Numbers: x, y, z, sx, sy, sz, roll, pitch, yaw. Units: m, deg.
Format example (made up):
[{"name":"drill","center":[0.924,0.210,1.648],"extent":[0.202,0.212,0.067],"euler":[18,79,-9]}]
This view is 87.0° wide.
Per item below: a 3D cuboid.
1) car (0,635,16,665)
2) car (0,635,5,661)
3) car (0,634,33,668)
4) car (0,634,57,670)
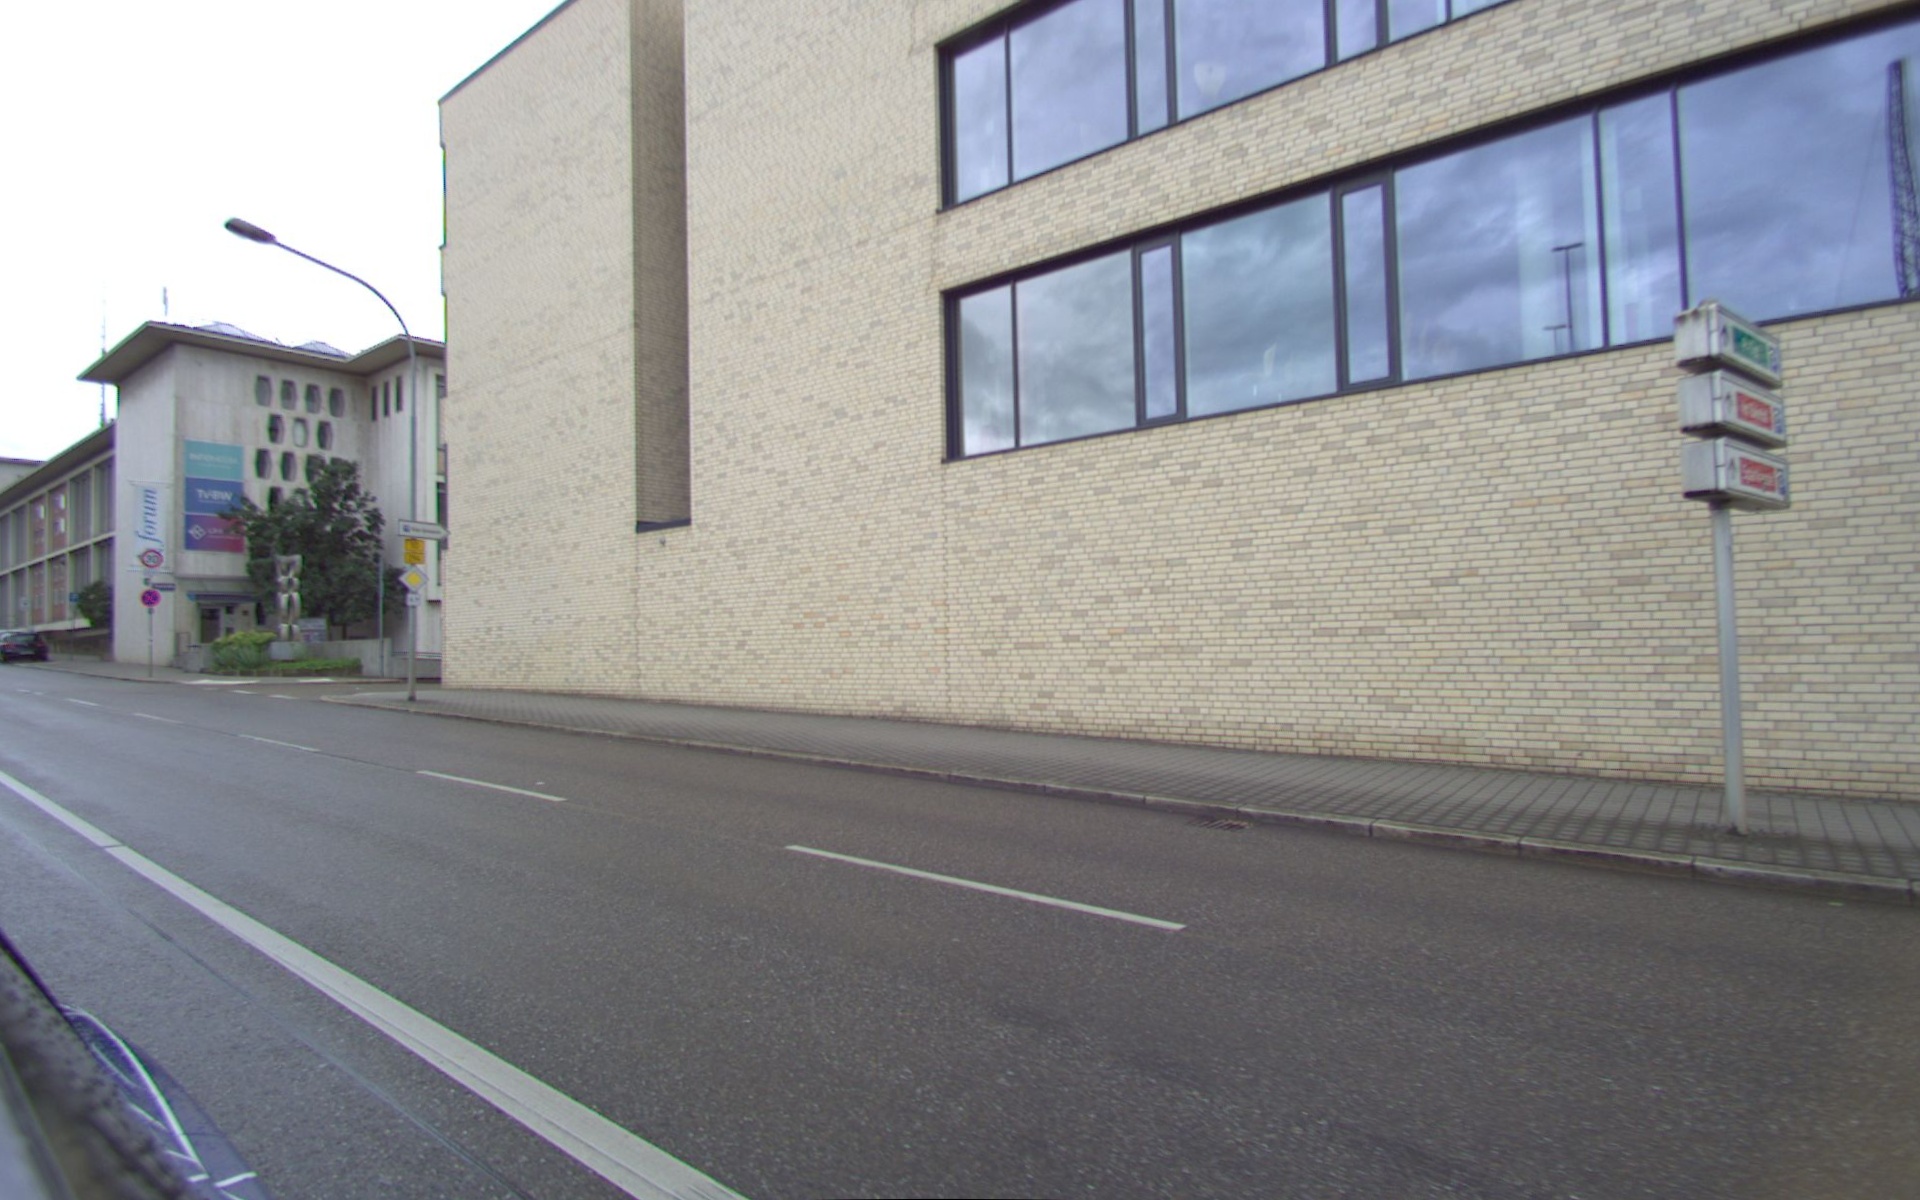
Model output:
[{"name":"car","center":[-54.386,2.806,56.506],"extent":[3.997,1.523,1.973],"euler":[-1,1,40]},{"name":"car","center":[-58.260,2.872,59.904],"extent":[4.182,1.502,1.974],"euler":[-1,1,40]},{"name":"car","center":[-50.410,2.656,53.168],"extent":[3.996,1.654,1.974],"euler":[-1,1,39]},{"name":"car","center":[-46.270,2.539,49.875],"extent":[3.995,1.541,1.974],"euler":[-1,1,38]}]
